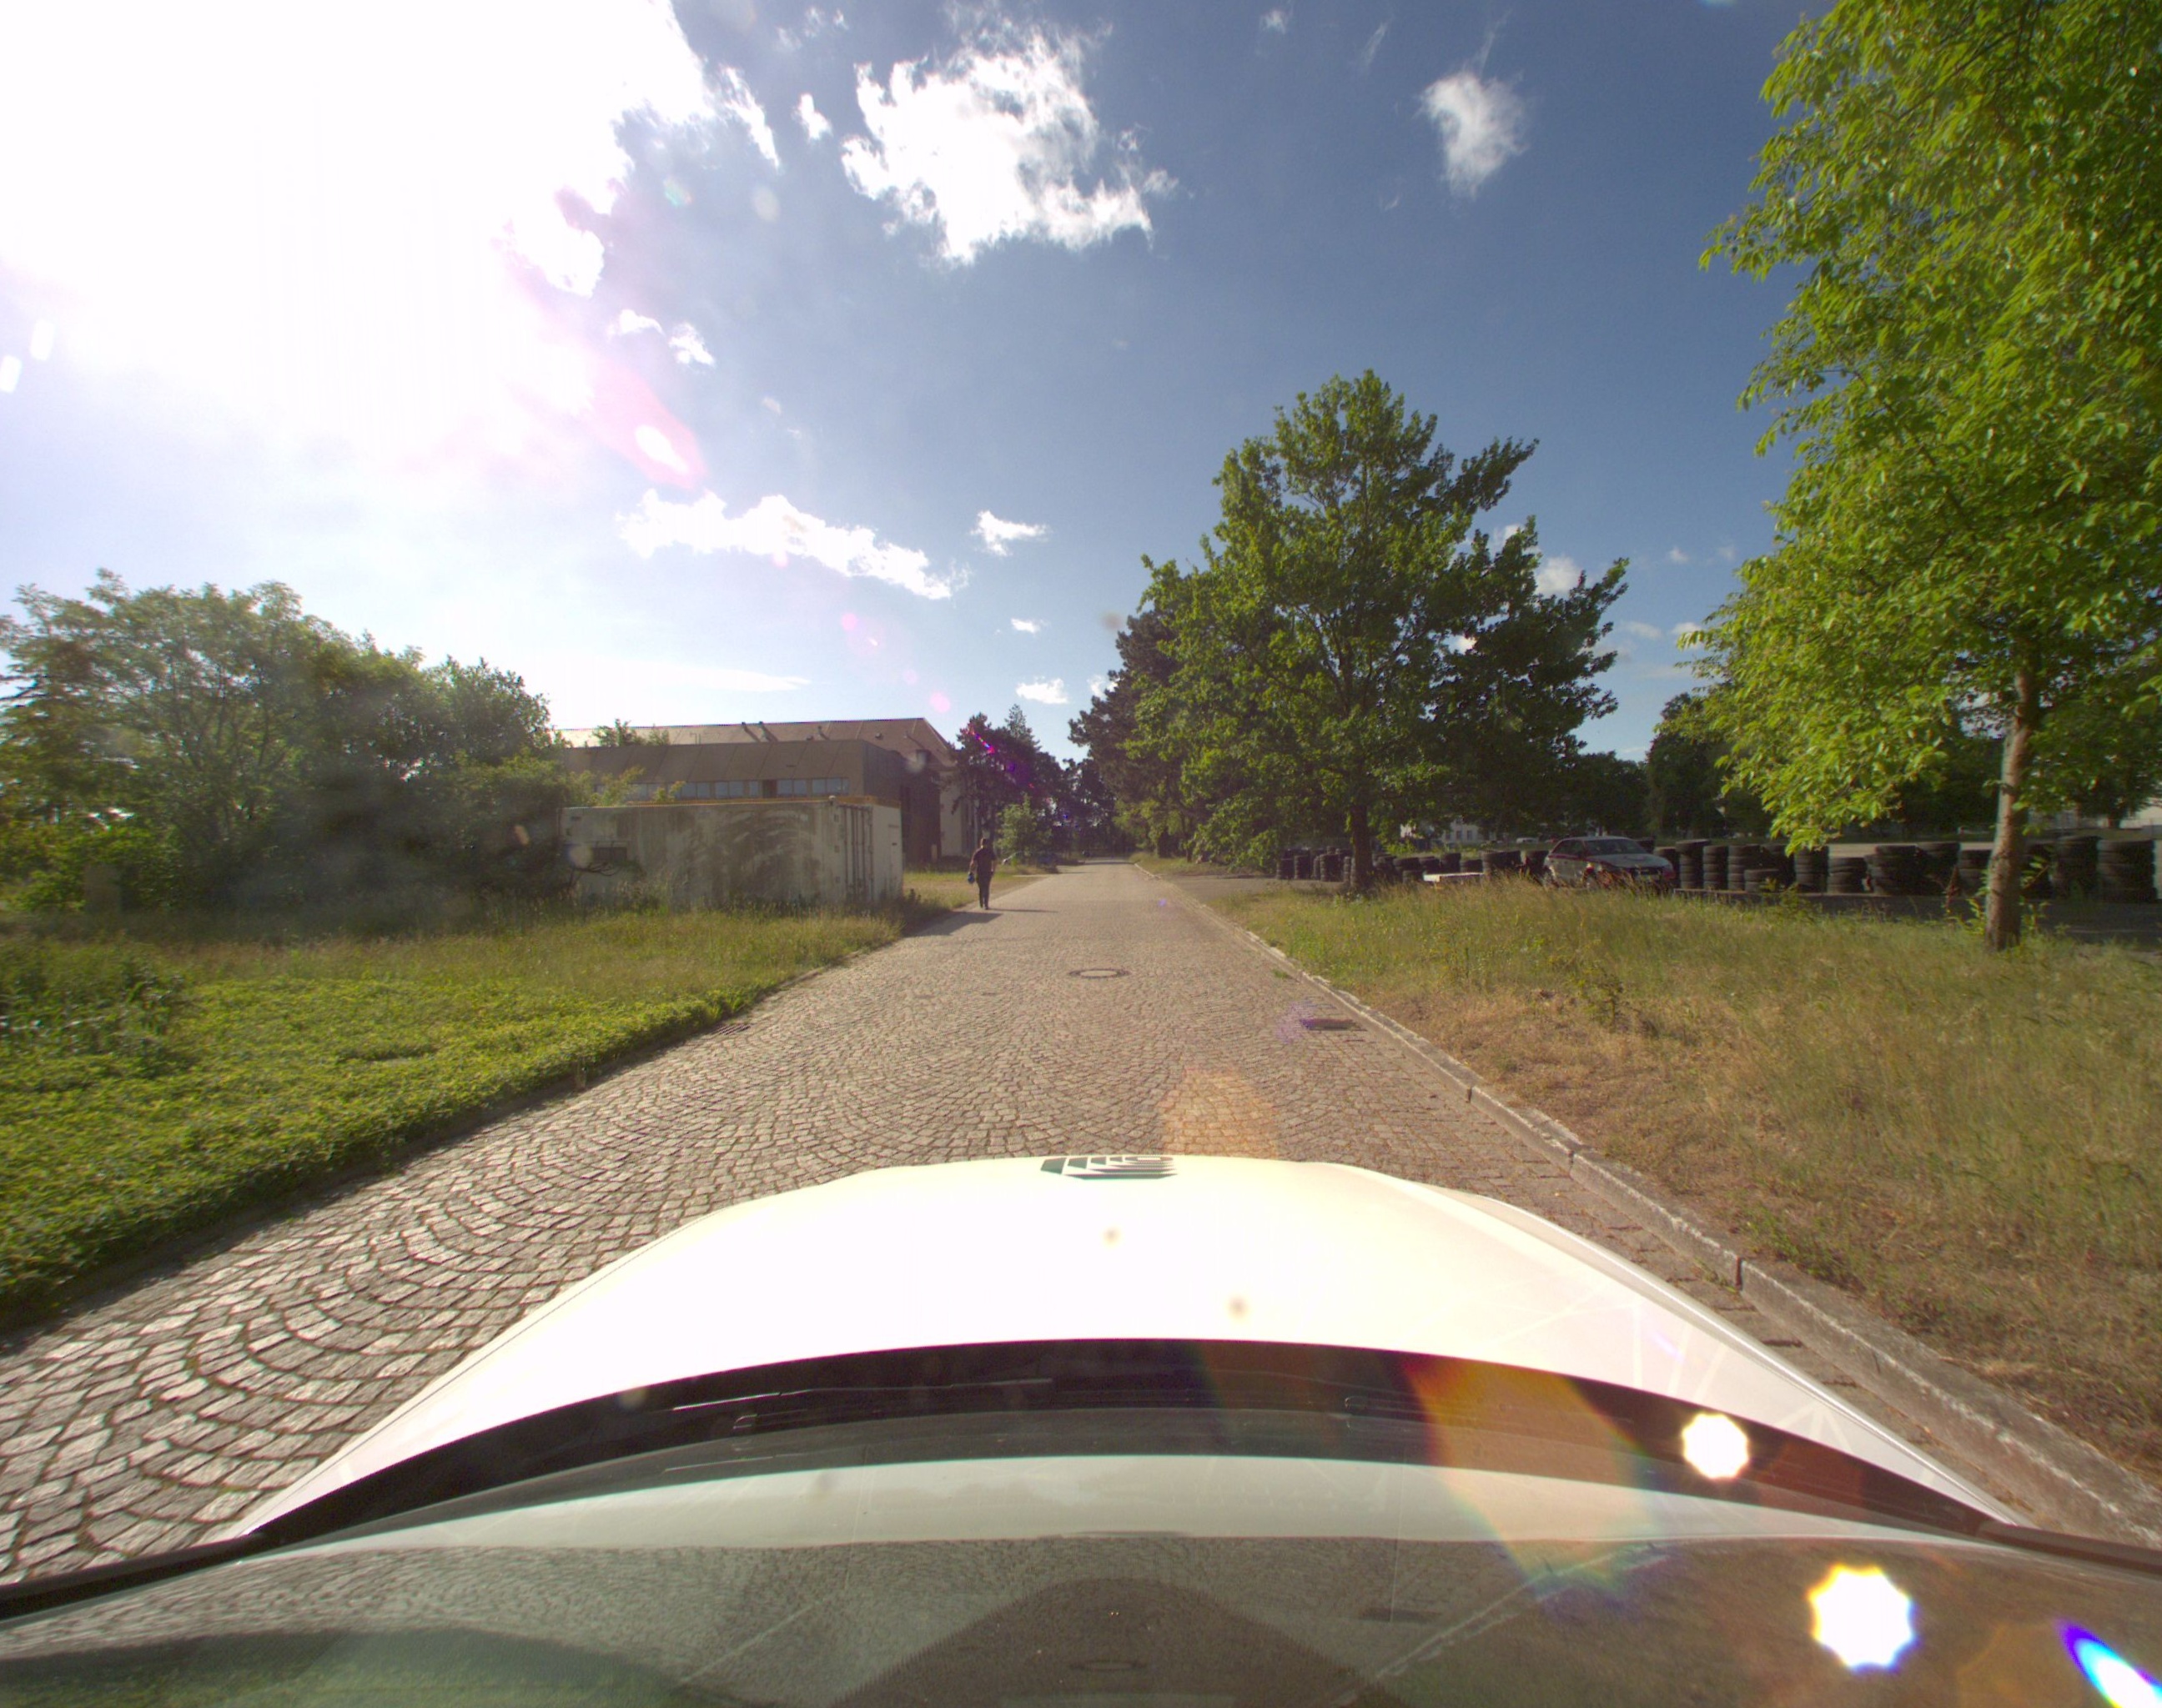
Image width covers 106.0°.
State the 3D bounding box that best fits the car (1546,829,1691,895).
[{"bbox_3d":[12.893,0.171,19.779,1.532,1.407,3.586,-1,0,8],"label":"car"}]

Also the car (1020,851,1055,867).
[{"bbox_3d":[-3.732,0.443,69.247,2.899,1.259,1.285,-2,0,-7],"label":"car"}]

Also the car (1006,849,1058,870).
[{"bbox_3d":[-3.670,0.415,61.990,3.821,1.441,1.583,-2,0,-1],"label":"car"}]

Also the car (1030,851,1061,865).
[{"bbox_3d":[-3.451,0.393,78.621,2.851,1.206,1.371,-2,0,-7],"label":"car"}]

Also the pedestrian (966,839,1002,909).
[{"bbox_3d":[-2.492,0.502,21.053,0.792,1.780,1.068,0,0,0],"label":"pedestrian"}]

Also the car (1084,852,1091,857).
[{"bbox_3d":[1.486,0.086,184.558,1.365,1.099,2.862,-2,0,0],"label":"car"}]
